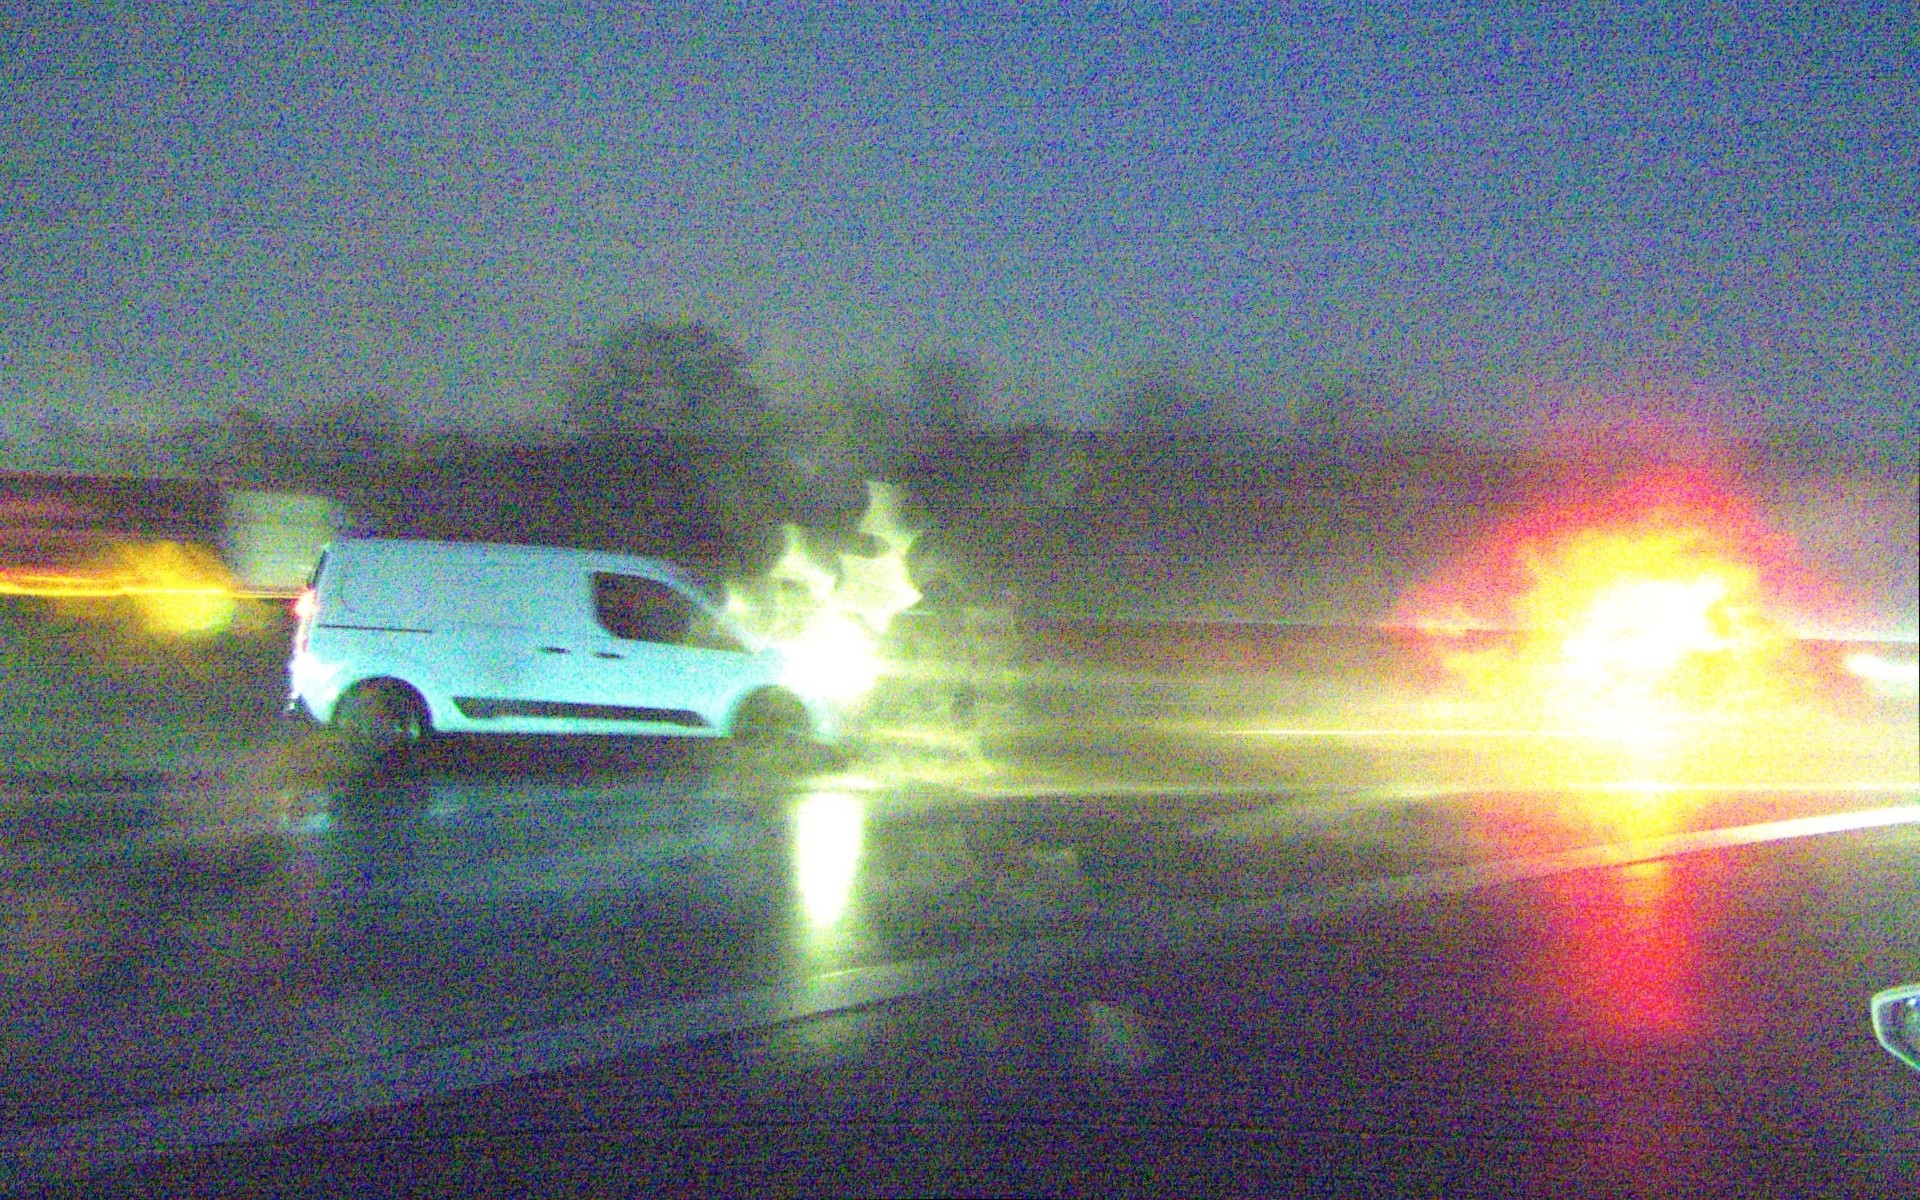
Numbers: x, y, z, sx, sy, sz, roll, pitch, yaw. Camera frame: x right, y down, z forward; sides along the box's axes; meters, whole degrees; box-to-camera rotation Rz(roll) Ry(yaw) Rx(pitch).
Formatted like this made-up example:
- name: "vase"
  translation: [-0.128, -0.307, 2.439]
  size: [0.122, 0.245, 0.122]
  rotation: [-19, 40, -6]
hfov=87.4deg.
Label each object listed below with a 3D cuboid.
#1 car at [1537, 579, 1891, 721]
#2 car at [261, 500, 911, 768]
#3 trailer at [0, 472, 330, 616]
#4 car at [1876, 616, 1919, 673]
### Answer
- name: "car"
  translation: [12.135, 0.776, 16.307]
  size: [4.486, 2.041, 1.996]
  rotation: [2, 2, -10]
- name: "car"
  translation: [-3.028, 0.346, 9.070]
  size: [4.927, 2.040, 1.996]
  rotation: [2, -1, -10]
- name: "trailer"
  translation: [-26.440, -1.687, 29.183]
  size: [13.695, 3.781, 2.655]
  rotation: [2, 2, -11]
- name: "car"
  translation: [37.342, 1.728, 38.015]
  size: [3.931, 2.041, 1.995]
  rotation: [2, 2, -13]
